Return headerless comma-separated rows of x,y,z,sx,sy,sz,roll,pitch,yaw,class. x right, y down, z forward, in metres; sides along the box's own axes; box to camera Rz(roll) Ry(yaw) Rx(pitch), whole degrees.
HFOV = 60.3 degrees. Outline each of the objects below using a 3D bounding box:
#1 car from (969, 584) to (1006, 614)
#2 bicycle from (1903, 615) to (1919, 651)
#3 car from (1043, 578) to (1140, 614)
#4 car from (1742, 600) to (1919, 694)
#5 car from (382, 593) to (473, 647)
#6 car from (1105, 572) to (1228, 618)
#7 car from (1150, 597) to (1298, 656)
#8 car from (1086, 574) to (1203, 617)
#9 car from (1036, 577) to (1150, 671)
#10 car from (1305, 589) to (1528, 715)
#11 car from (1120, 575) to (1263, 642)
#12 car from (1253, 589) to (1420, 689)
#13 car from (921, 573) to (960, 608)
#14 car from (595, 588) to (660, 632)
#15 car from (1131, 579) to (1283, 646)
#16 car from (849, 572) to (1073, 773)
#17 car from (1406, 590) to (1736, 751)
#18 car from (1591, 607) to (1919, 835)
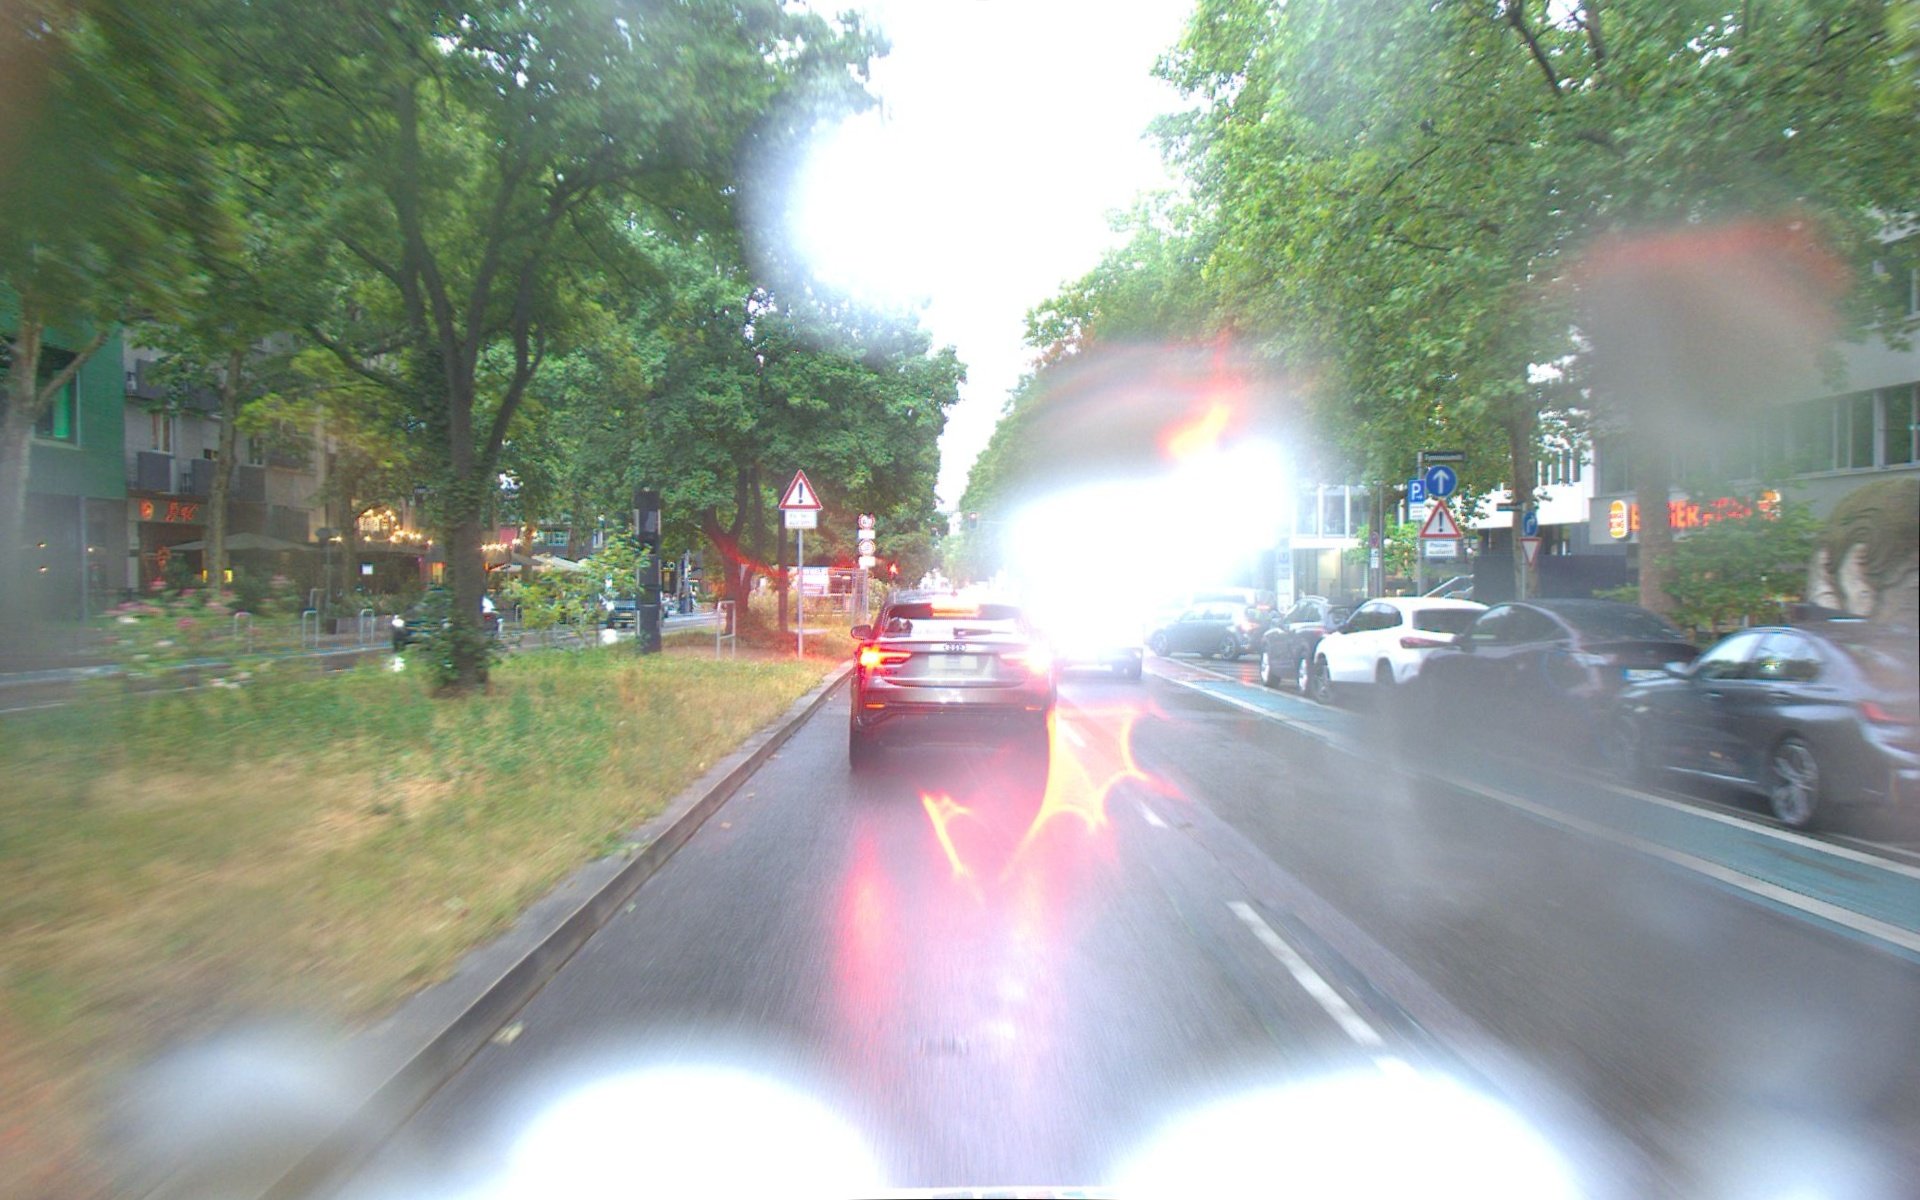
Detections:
1.564,-0.041,95.458,1.953,1.680,3.999,2,0,-1,car
22.747,0.780,38.458,0.439,0.851,2.026,2,0,-1,bicycle
6.769,-0.205,85.082,4.548,1.736,1.998,1,0,27,car
16.757,0.857,30.199,4.155,1.594,2.056,2,0,16,car
-13.578,0.488,42.341,1.658,1.280,3.637,2,0,-9,car
8.414,-0.187,67.414,4.548,1.736,1.998,1,0,27,car
6.649,0.653,42.034,1.544,1.402,3.825,2,0,-33,car
7.913,-0.194,71.070,4.548,1.736,1.998,1,0,27,car
2.600,0.465,33.158,1.840,1.727,3.999,2,0,-1,car
6.352,0.685,23.486,1.694,1.599,4.069,2,0,-5,car
8.472,0.312,60.578,4.787,2.293,1.997,1,-1,28,car
6.358,0.633,28.351,1.662,1.550,4.020,2,0,-4,car
-1.050,-0.487,86.889,1.953,1.757,3.998,2,0,-2,car
-13.871,0.407,69.198,1.724,1.733,4.333,2,0,1,car
8.039,0.397,53.965,4.517,2.049,1.960,1,-1,37,car
-0.063,0.590,15.562,1.812,1.630,3.998,1,0,-2,car
6.669,0.711,18.663,1.830,1.547,4.556,2,0,-3,car
6.800,0.810,12.974,1.835,1.446,4.610,2,0,-1,car
